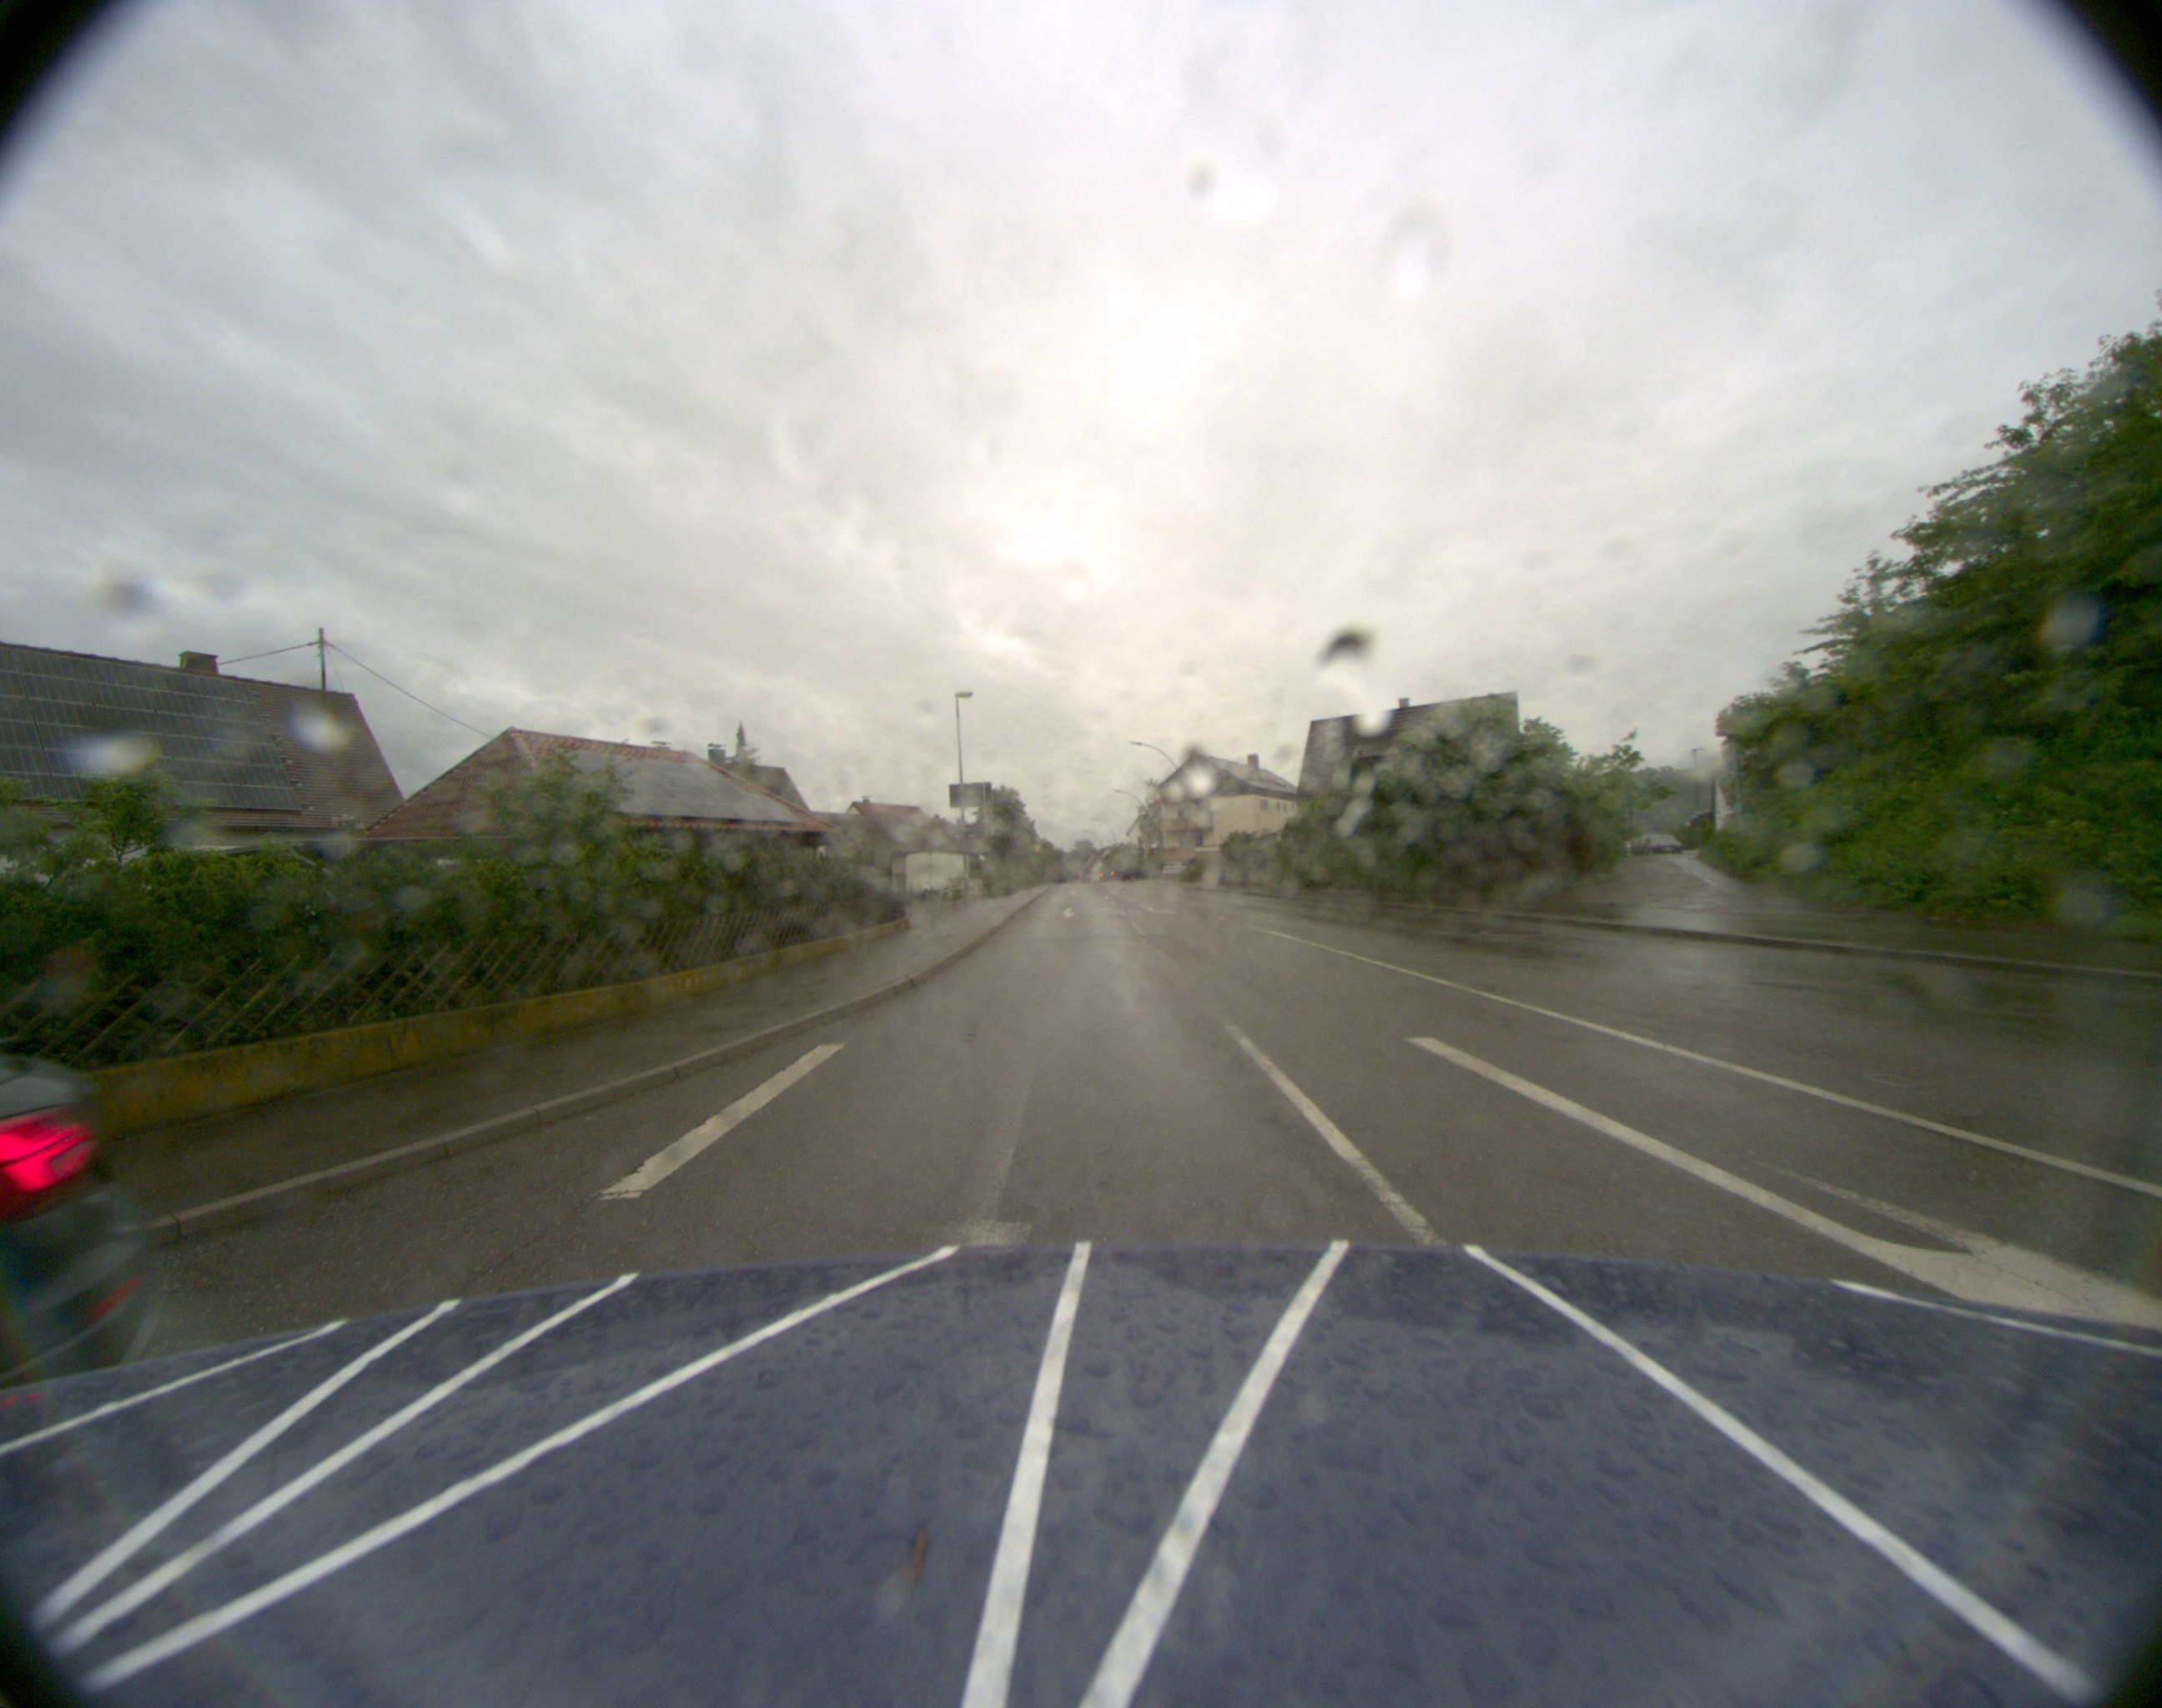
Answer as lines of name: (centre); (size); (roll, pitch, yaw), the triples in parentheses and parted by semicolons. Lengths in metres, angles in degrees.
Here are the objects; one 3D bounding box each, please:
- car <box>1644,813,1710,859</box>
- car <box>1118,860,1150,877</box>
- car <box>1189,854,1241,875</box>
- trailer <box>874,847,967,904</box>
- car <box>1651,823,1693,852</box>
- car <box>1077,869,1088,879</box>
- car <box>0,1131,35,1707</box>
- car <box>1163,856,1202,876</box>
car: (22.965, -0.699, 29.219); (1.706, 1.579, 3.669); (-2, 0, 42)
car: (6.121, 1.650, 86.932); (1.995, 1.658, 4.424); (-3, 0, 28)
car: (10.761, 0.838, 61.180); (3.661, 1.510, 1.758); (-3, 0, 35)
trailer: (-7.706, 0.986, 36.995); (1.645, 2.502, 4.712); (-3, -1, 29)
car: (41.126, -1.159, 52.857); (1.995, 1.848, 4.008); (-3, 0, 41)
car: (0.282, 3.959, 153.189); (1.932, 1.864, 4.000); (-3, 0, 0)
car: (-3.867, 1.105, 0.263); (1.684, 1.486, 3.946); (-3, 0, 31)
car: (8.965, 1.051, 67.139); (1.864, 1.510, 4.007); (-3, 0, 32)
